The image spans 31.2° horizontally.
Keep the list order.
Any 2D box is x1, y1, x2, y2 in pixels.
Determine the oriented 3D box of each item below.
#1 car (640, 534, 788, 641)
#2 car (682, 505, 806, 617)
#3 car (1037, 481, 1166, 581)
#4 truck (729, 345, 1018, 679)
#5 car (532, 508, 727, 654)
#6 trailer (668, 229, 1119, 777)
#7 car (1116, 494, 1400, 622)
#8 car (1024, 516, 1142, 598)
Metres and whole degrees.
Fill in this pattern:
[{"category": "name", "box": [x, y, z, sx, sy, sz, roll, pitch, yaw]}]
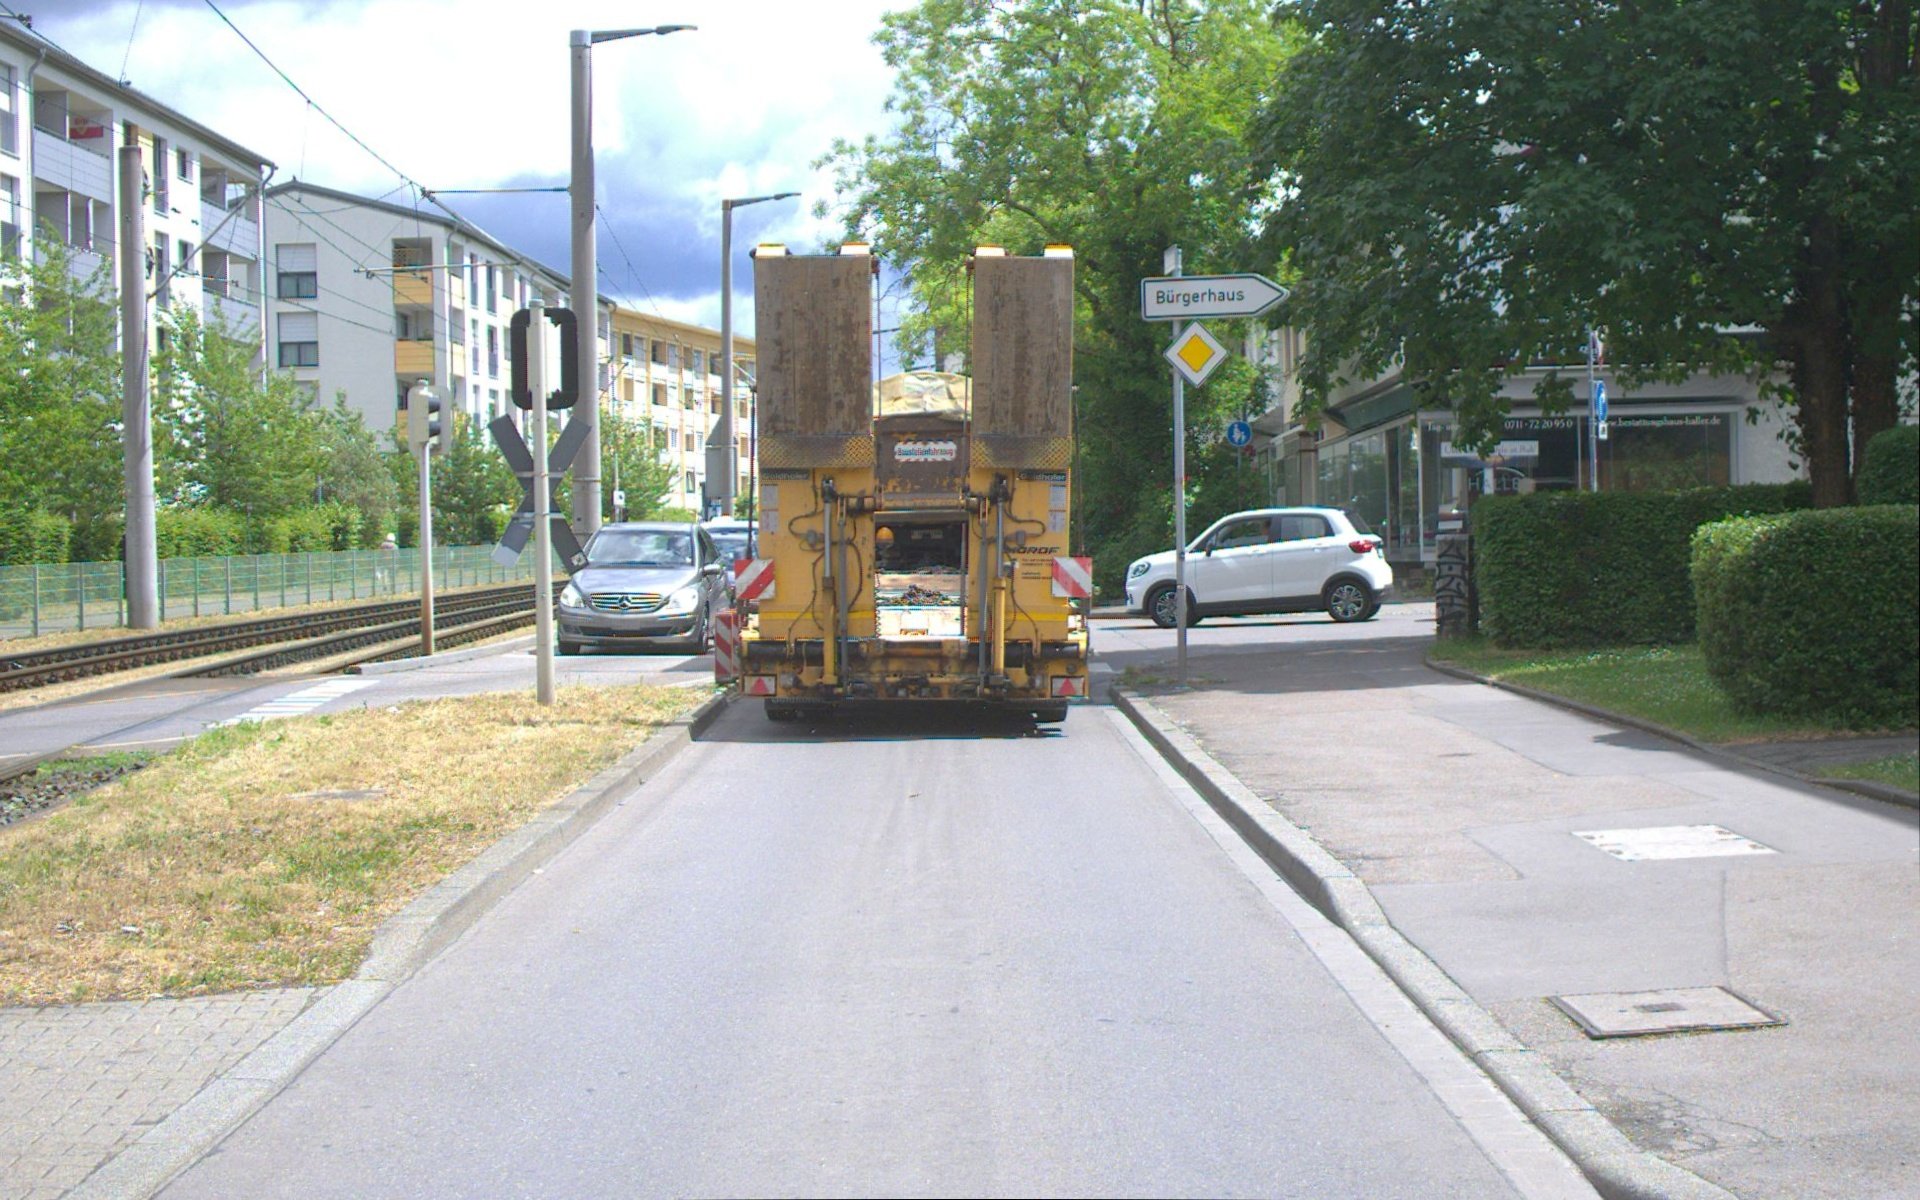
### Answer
[{"category": "car", "box": [-3.409, -0.197, 48.192, 1.602, 1.376, 3.956, -2, 1, 2]}, {"category": "car", "box": [-3.547, -0.656, 56.959, 1.602, 1.726, 3.938, -2, 1, 2]}, {"category": "car", "box": [2.471, -1.254, 61.015, 1.993, 1.612, 4.001, -2, 2, -1]}, {"category": "truck", "box": [-1.092, -1.062, 39.309, 2.833, 3.318, 7.986, -2, 2, -3]}, {"category": "car", "box": [-4.021, -0.250, 42.420, 1.802, 1.646, 4.131, -2, 1, 2]}, {"category": "trailer", "box": [-0.762, -0.923, 30.193, 3.050, 3.759, 11.615, -2, 2, -3]}, {"category": "car", "box": [4.086, -0.577, 46.849, 3.600, 1.579, 1.999, -2, 1, 12]}, {"category": "car", "box": [2.325, -0.847, 65.924, 1.993, 1.382, 4.001, -2, 2, -1]}]
